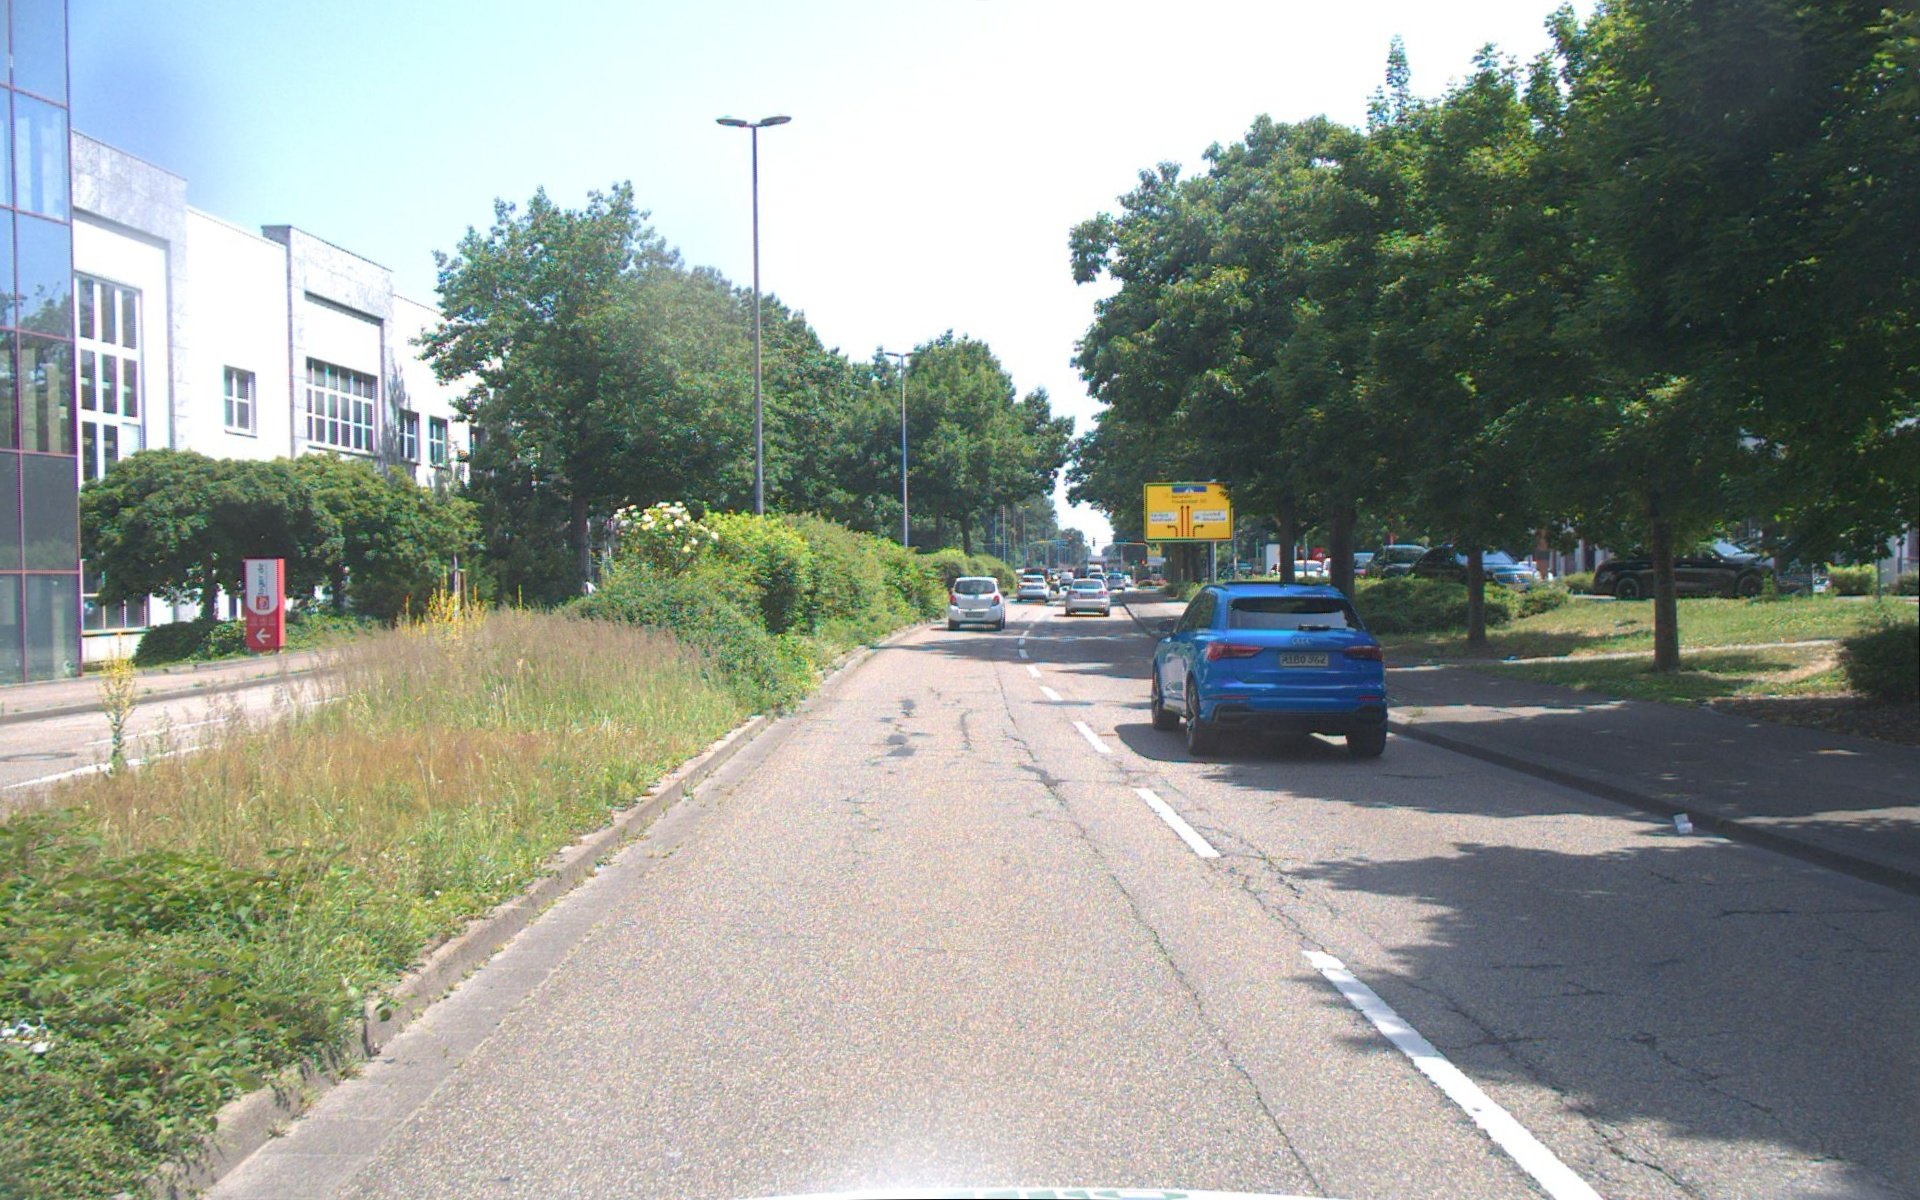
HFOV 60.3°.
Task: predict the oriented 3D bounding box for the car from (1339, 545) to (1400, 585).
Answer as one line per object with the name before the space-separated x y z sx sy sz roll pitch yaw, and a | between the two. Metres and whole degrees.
car | 13.567 -1.136 54.937 1.584 1.275 3.767 0 0 8

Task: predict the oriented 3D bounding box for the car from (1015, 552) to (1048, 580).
car | 4.447 -2.107 101.848 1.845 1.636 4.003 -2 1 4

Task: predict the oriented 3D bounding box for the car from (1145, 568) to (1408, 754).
car | 3.025 0.521 16.706 1.772 1.620 4.349 0 0 -1

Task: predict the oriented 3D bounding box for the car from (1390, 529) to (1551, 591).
car | 13.003 -0.979 42.533 1.869 1.476 5.594 0 0 -7

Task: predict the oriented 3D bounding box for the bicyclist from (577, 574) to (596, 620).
bicyclist | -12.871 -0.106 57.030 0.534 1.536 0.343 -2 1 -1

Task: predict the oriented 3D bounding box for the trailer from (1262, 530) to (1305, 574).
trailer | 15.797 -2.312 81.009 1.664 2.091 5.488 0 1 7

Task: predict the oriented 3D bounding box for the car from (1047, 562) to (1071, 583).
car | 6.903 -1.937 115.859 1.457 1.416 3.307 0 0 0

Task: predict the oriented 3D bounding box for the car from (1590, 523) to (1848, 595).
car | 15.842 -0.826 34.763 1.928 1.375 4.664 -2 1 -32

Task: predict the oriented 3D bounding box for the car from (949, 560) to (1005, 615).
car | 0.511 -0.362 49.124 1.604 1.579 3.325 0 0 1

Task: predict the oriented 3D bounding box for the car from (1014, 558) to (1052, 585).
car | 3.916 -1.505 88.547 1.845 1.378 4.002 0 0 5

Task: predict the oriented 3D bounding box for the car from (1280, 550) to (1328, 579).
car | 14.919 -1.529 71.877 1.560 1.178 3.740 0 0 4

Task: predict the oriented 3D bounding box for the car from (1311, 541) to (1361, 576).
car | 14.636 -1.596 64.485 1.584 1.275 3.870 0 0 8

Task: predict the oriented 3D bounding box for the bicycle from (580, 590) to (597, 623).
bicycle | -12.801 0.213 57.004 0.339 1.086 0.923 -2 1 0

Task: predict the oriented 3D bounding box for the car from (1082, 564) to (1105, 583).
car | 9.980 -1.968 123.938 1.412 1.371 3.460 -2 0 0

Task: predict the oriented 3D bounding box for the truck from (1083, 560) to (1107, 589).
truck | 17.304 -3.281 211.668 2.870 3.563 9.164 -1 1 5

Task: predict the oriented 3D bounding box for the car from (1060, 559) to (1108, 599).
car | 4.836 -0.801 64.418 1.826 1.498 4.002 0 0 4
